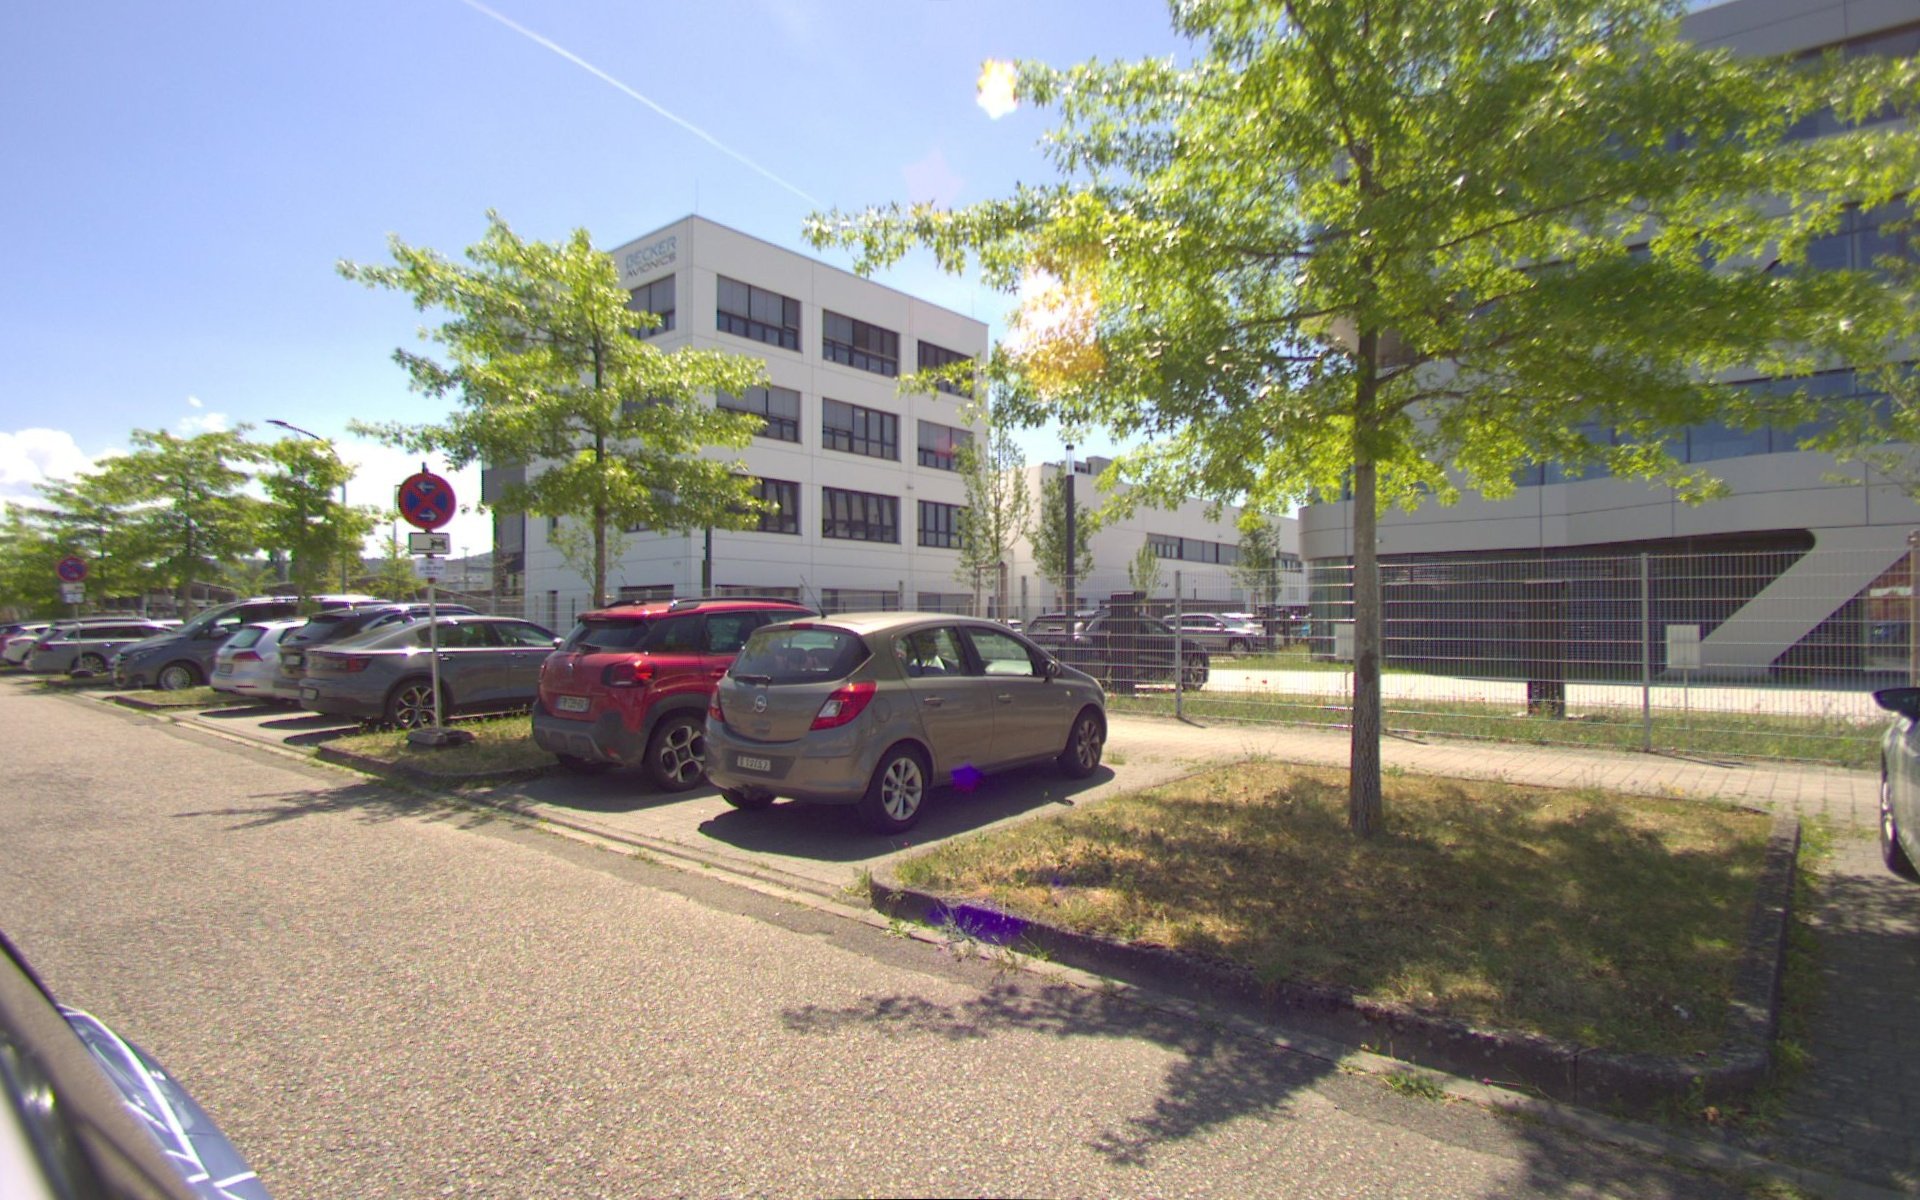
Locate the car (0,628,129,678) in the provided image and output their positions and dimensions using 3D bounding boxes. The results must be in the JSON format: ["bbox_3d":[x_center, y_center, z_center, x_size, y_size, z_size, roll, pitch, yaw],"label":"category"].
[{"bbox_3d":[-32.771,1.895,36.701,1.725,1.604,3.801,-2,-1,38],"label":"car"}]

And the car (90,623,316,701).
[{"bbox_3d":[-17.513,1.372,23.544,1.763,1.495,3.928,-2,0,41],"label":"car"}]

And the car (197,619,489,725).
[{"bbox_3d":[-10.499,1.143,17.476,1.602,1.472,3.999,-2,0,38],"label":"car"}]

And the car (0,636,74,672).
[{"bbox_3d":[-41.275,2.378,44.325,1.726,1.452,3.469,-2,-1,40],"label":"car"}]

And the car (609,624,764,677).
[{"bbox_3d":[-7.490,1.415,28.039,1.675,1.342,3.949,-2,-4,37],"label":"car"}]

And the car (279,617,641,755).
[{"bbox_3d":[-6.745,1.053,14.007,1.712,1.491,4.149,-2,0,41],"label":"car"}]

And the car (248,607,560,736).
[{"bbox_3d":[-8.632,1.009,16.010,1.773,1.691,3.952,-2,0,36],"label":"car"}]

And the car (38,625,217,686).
[{"bbox_3d":[-25.674,1.657,31.291,1.727,1.647,4.073,-2,-1,42],"label":"car"}]

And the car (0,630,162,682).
[{"bbox_3d":[-30.531,1.907,35.166,1.807,1.524,4.127,-4,-1,42],"label":"car"}]

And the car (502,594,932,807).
[{"bbox_3d":[-2.199,0.791,9.859,1.816,1.633,3.698,-2,-1,41],"label":"car"}]

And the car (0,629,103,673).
[{"bbox_3d":[-37.507,2.068,41.207,1.728,1.604,3.862,-2,-1,44],"label":"car"}]

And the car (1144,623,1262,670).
[{"bbox_3d":[9.353,1.775,39.133,3.998,1.730,1.973,-2,-3,41],"label":"car"}]

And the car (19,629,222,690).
[{"bbox_3d":[-24.160,1.653,29.260,1.725,1.484,4.269,-2,-1,38],"label":"car"}]

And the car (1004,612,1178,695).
[{"bbox_3d":[2.529,1.011,19.018,1.676,1.401,3.443,-2,-4,40],"label":"car"}]

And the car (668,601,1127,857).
[{"bbox_3d":[-0.296,0.801,8.121,1.728,1.520,3.623,-2,-1,37],"label":"car"}]

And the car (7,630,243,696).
[{"bbox_3d":[-22.520,1.635,27.462,1.856,1.458,4.666,-2,-1,40],"label":"car"}]

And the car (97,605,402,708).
[{"bbox_3d":[-14.955,1.096,21.566,1.997,1.906,5.015,-2,-1,42],"label":"car"}]

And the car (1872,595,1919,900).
[{"bbox_3d":[5.025,0.702,3.889,1.871,1.435,4.038,-2,0,37],"label":"car"}]

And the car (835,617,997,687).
[{"bbox_3d":[-0.908,1.134,22.198,1.676,1.401,3.443,-2,-3,40],"label":"car"}]
